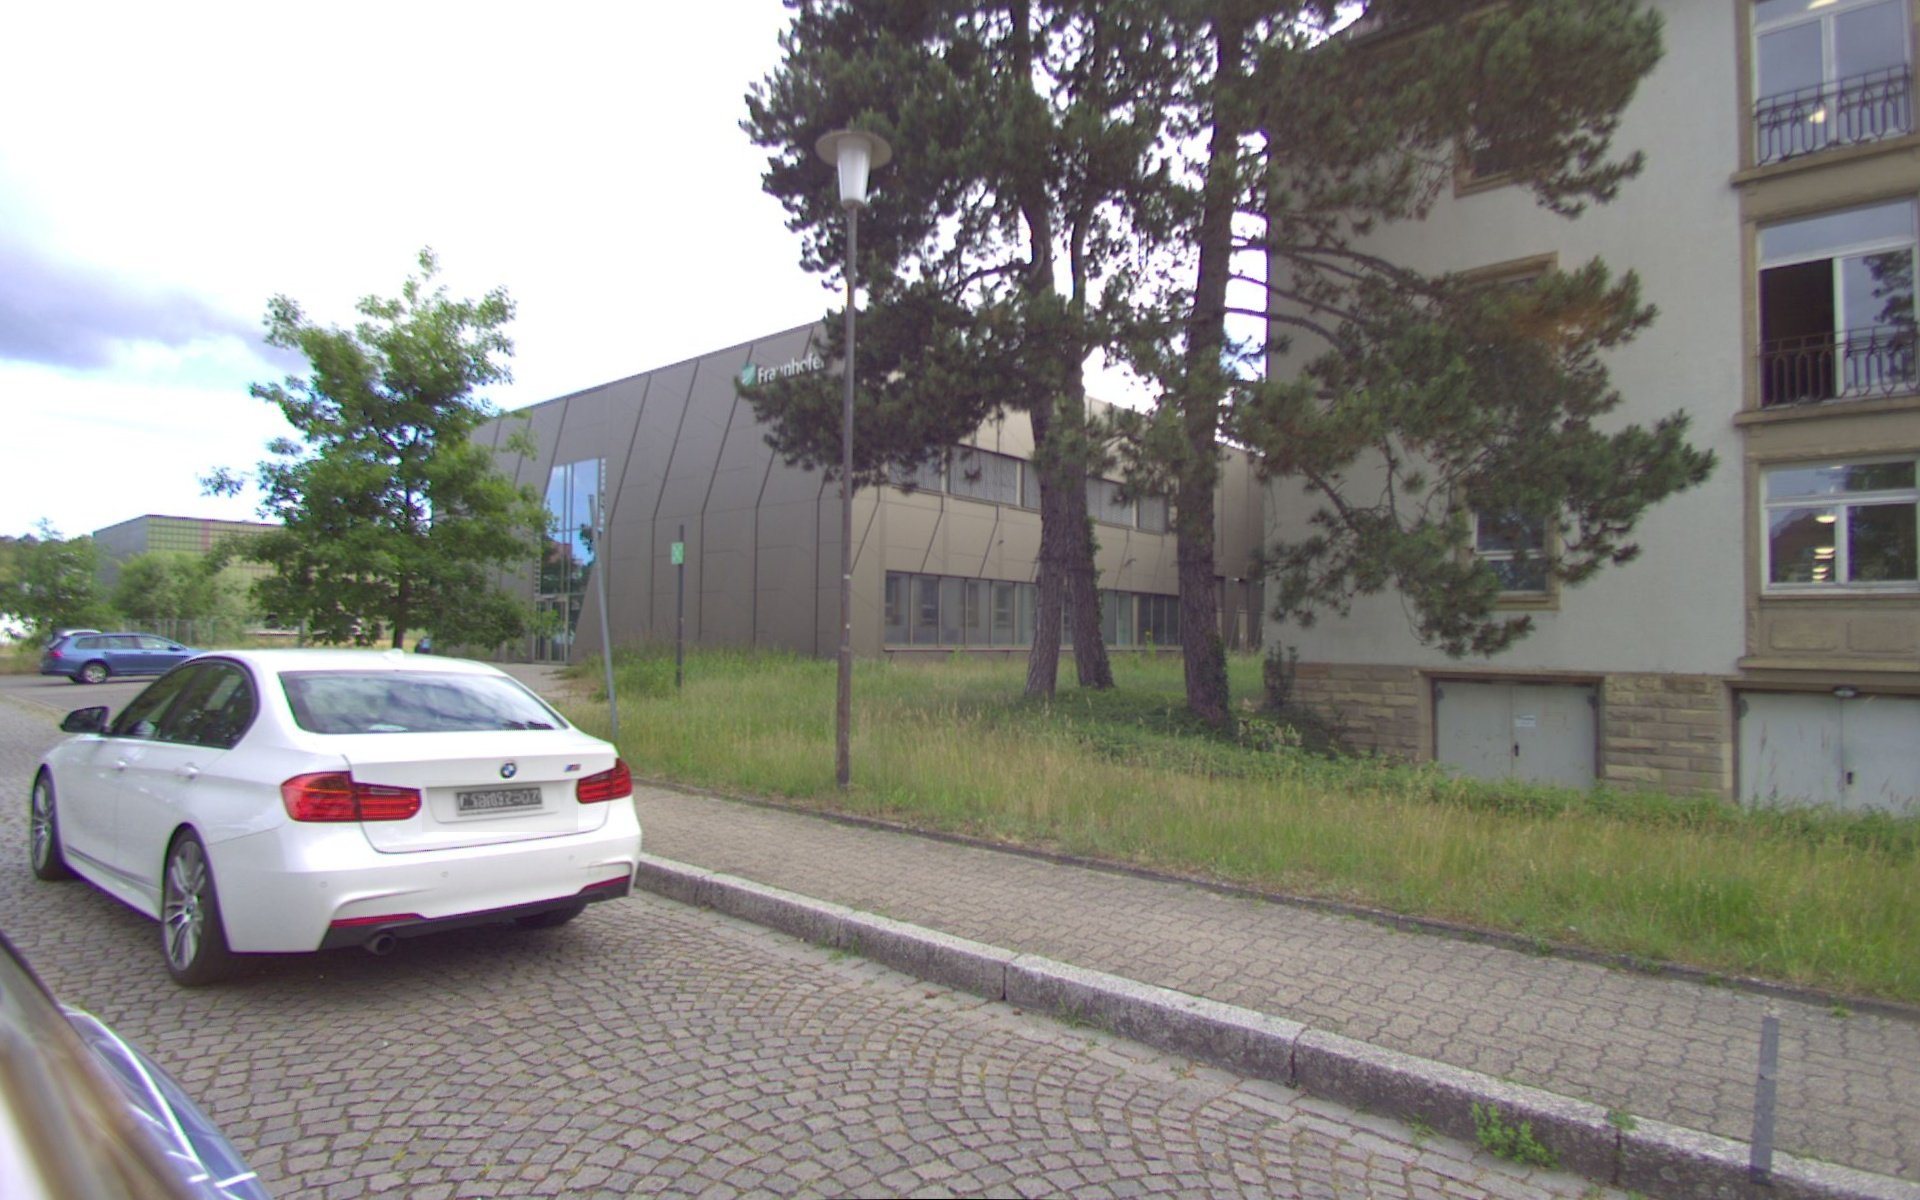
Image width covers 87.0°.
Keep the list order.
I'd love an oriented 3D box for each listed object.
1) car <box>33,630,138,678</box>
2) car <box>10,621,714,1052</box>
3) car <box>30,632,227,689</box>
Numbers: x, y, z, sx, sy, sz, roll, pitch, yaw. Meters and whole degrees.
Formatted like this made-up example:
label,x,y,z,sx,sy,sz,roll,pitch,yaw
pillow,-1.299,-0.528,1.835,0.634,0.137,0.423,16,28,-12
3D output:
label,x,y,z,sx,sy,sz,roll,pitch,yaw
car,-30.541,1.842,35.369,1.498,1.541,2.553,-1,-1,38
car,-3.406,0.906,5.442,4.212,1.449,1.756,-1,-6,38
car,-24.978,1.763,30.542,1.631,1.481,4.372,-1,-1,38
